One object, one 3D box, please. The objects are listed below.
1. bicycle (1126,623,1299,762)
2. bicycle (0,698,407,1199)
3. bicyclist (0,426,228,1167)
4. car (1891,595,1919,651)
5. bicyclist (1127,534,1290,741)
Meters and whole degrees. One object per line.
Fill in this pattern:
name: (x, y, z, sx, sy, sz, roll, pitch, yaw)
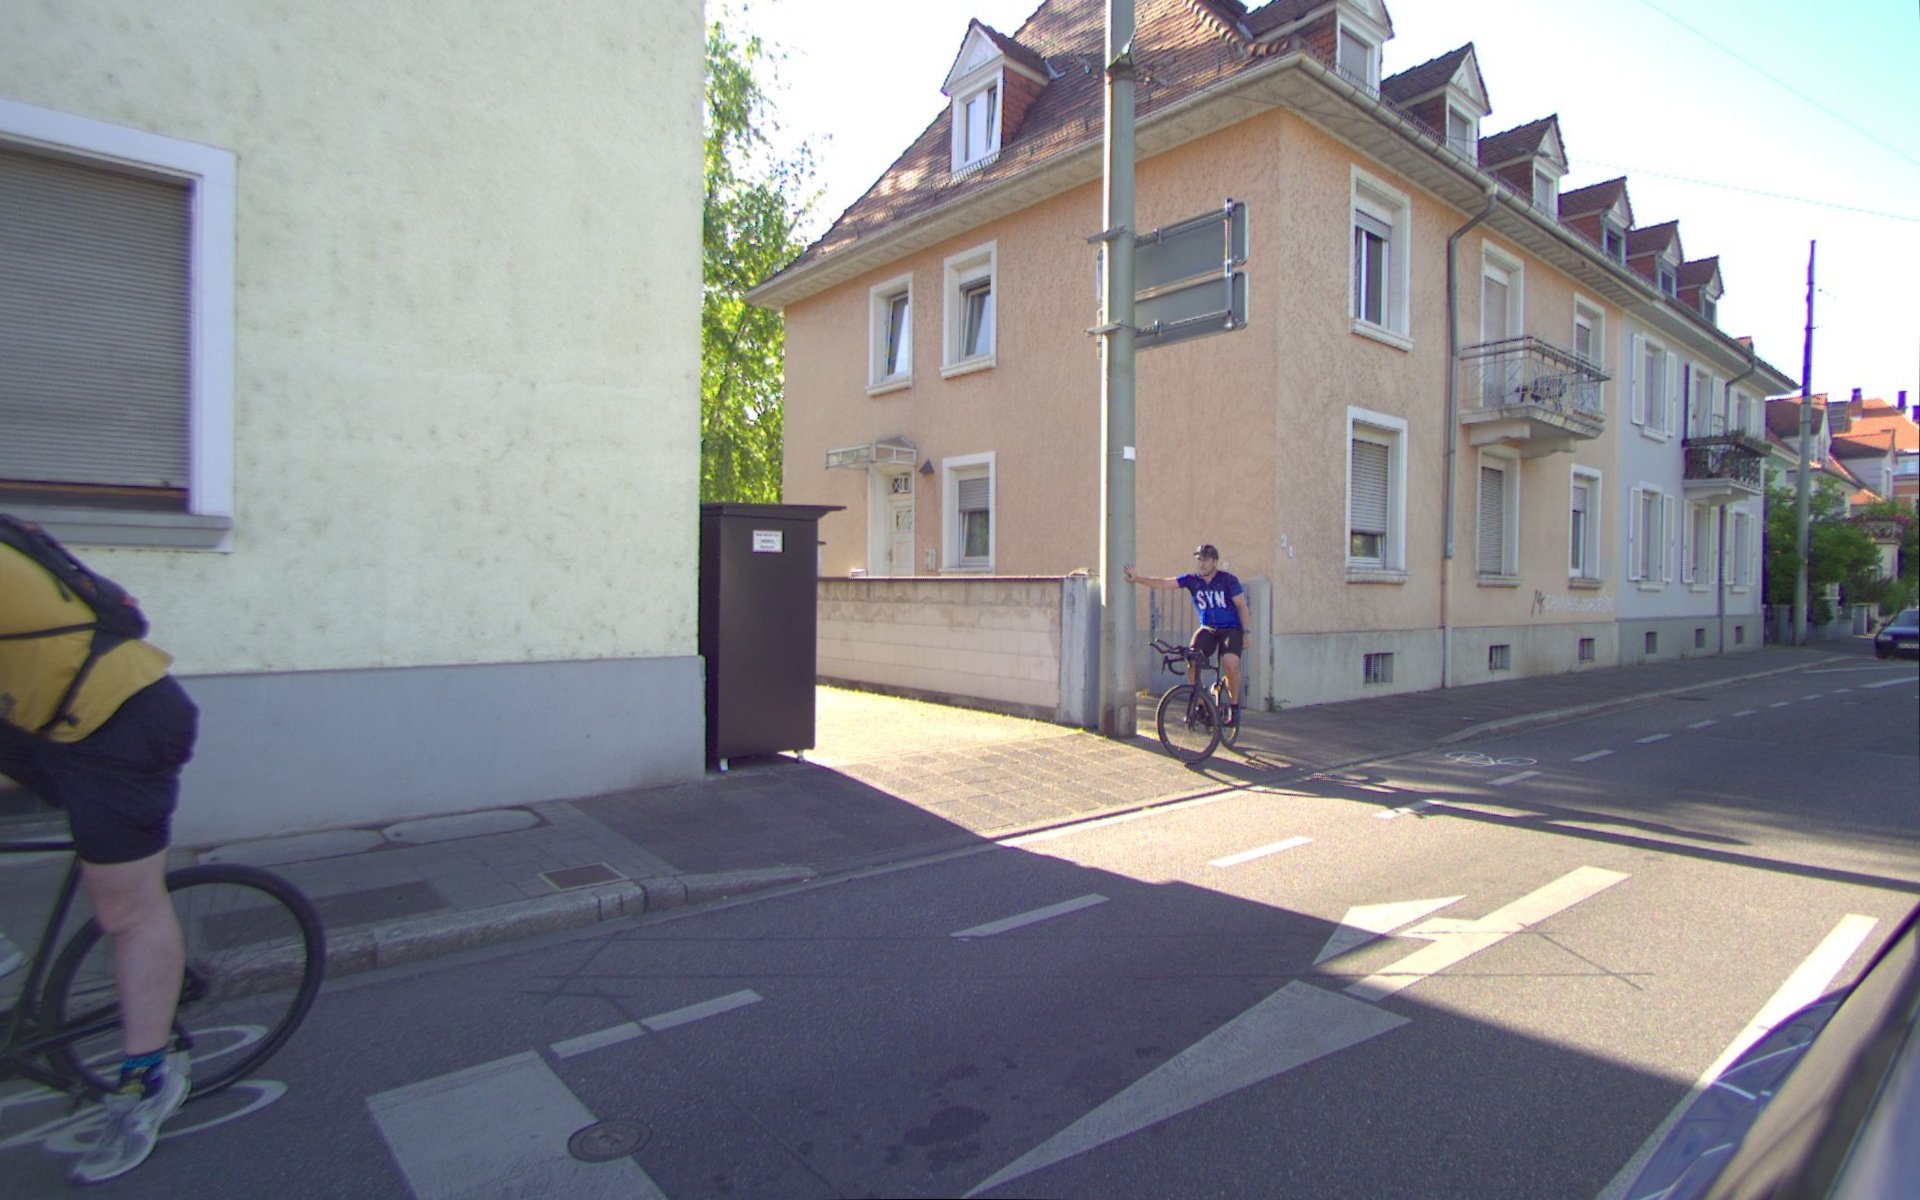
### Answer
bicycle: (2.320, 0.788, 9.200, 1.689, 1.064, 0.595, 0, 6, -41)
bicycle: (-2.468, 0.891, 2.573, 1.778, 1.101, 0.611, 0, 1, -41)
bicyclist: (-2.472, 0.459, 2.576, 0.939, 1.743, 0.582, 0, 0, -41)
car: (26.638, 0.606, 27.324, 3.932, 1.438, 1.845, 0, 1, -42)
bicyclist: (2.319, 0.303, 9.504, 0.838, 1.758, 1.072, 0, 6, -40)
